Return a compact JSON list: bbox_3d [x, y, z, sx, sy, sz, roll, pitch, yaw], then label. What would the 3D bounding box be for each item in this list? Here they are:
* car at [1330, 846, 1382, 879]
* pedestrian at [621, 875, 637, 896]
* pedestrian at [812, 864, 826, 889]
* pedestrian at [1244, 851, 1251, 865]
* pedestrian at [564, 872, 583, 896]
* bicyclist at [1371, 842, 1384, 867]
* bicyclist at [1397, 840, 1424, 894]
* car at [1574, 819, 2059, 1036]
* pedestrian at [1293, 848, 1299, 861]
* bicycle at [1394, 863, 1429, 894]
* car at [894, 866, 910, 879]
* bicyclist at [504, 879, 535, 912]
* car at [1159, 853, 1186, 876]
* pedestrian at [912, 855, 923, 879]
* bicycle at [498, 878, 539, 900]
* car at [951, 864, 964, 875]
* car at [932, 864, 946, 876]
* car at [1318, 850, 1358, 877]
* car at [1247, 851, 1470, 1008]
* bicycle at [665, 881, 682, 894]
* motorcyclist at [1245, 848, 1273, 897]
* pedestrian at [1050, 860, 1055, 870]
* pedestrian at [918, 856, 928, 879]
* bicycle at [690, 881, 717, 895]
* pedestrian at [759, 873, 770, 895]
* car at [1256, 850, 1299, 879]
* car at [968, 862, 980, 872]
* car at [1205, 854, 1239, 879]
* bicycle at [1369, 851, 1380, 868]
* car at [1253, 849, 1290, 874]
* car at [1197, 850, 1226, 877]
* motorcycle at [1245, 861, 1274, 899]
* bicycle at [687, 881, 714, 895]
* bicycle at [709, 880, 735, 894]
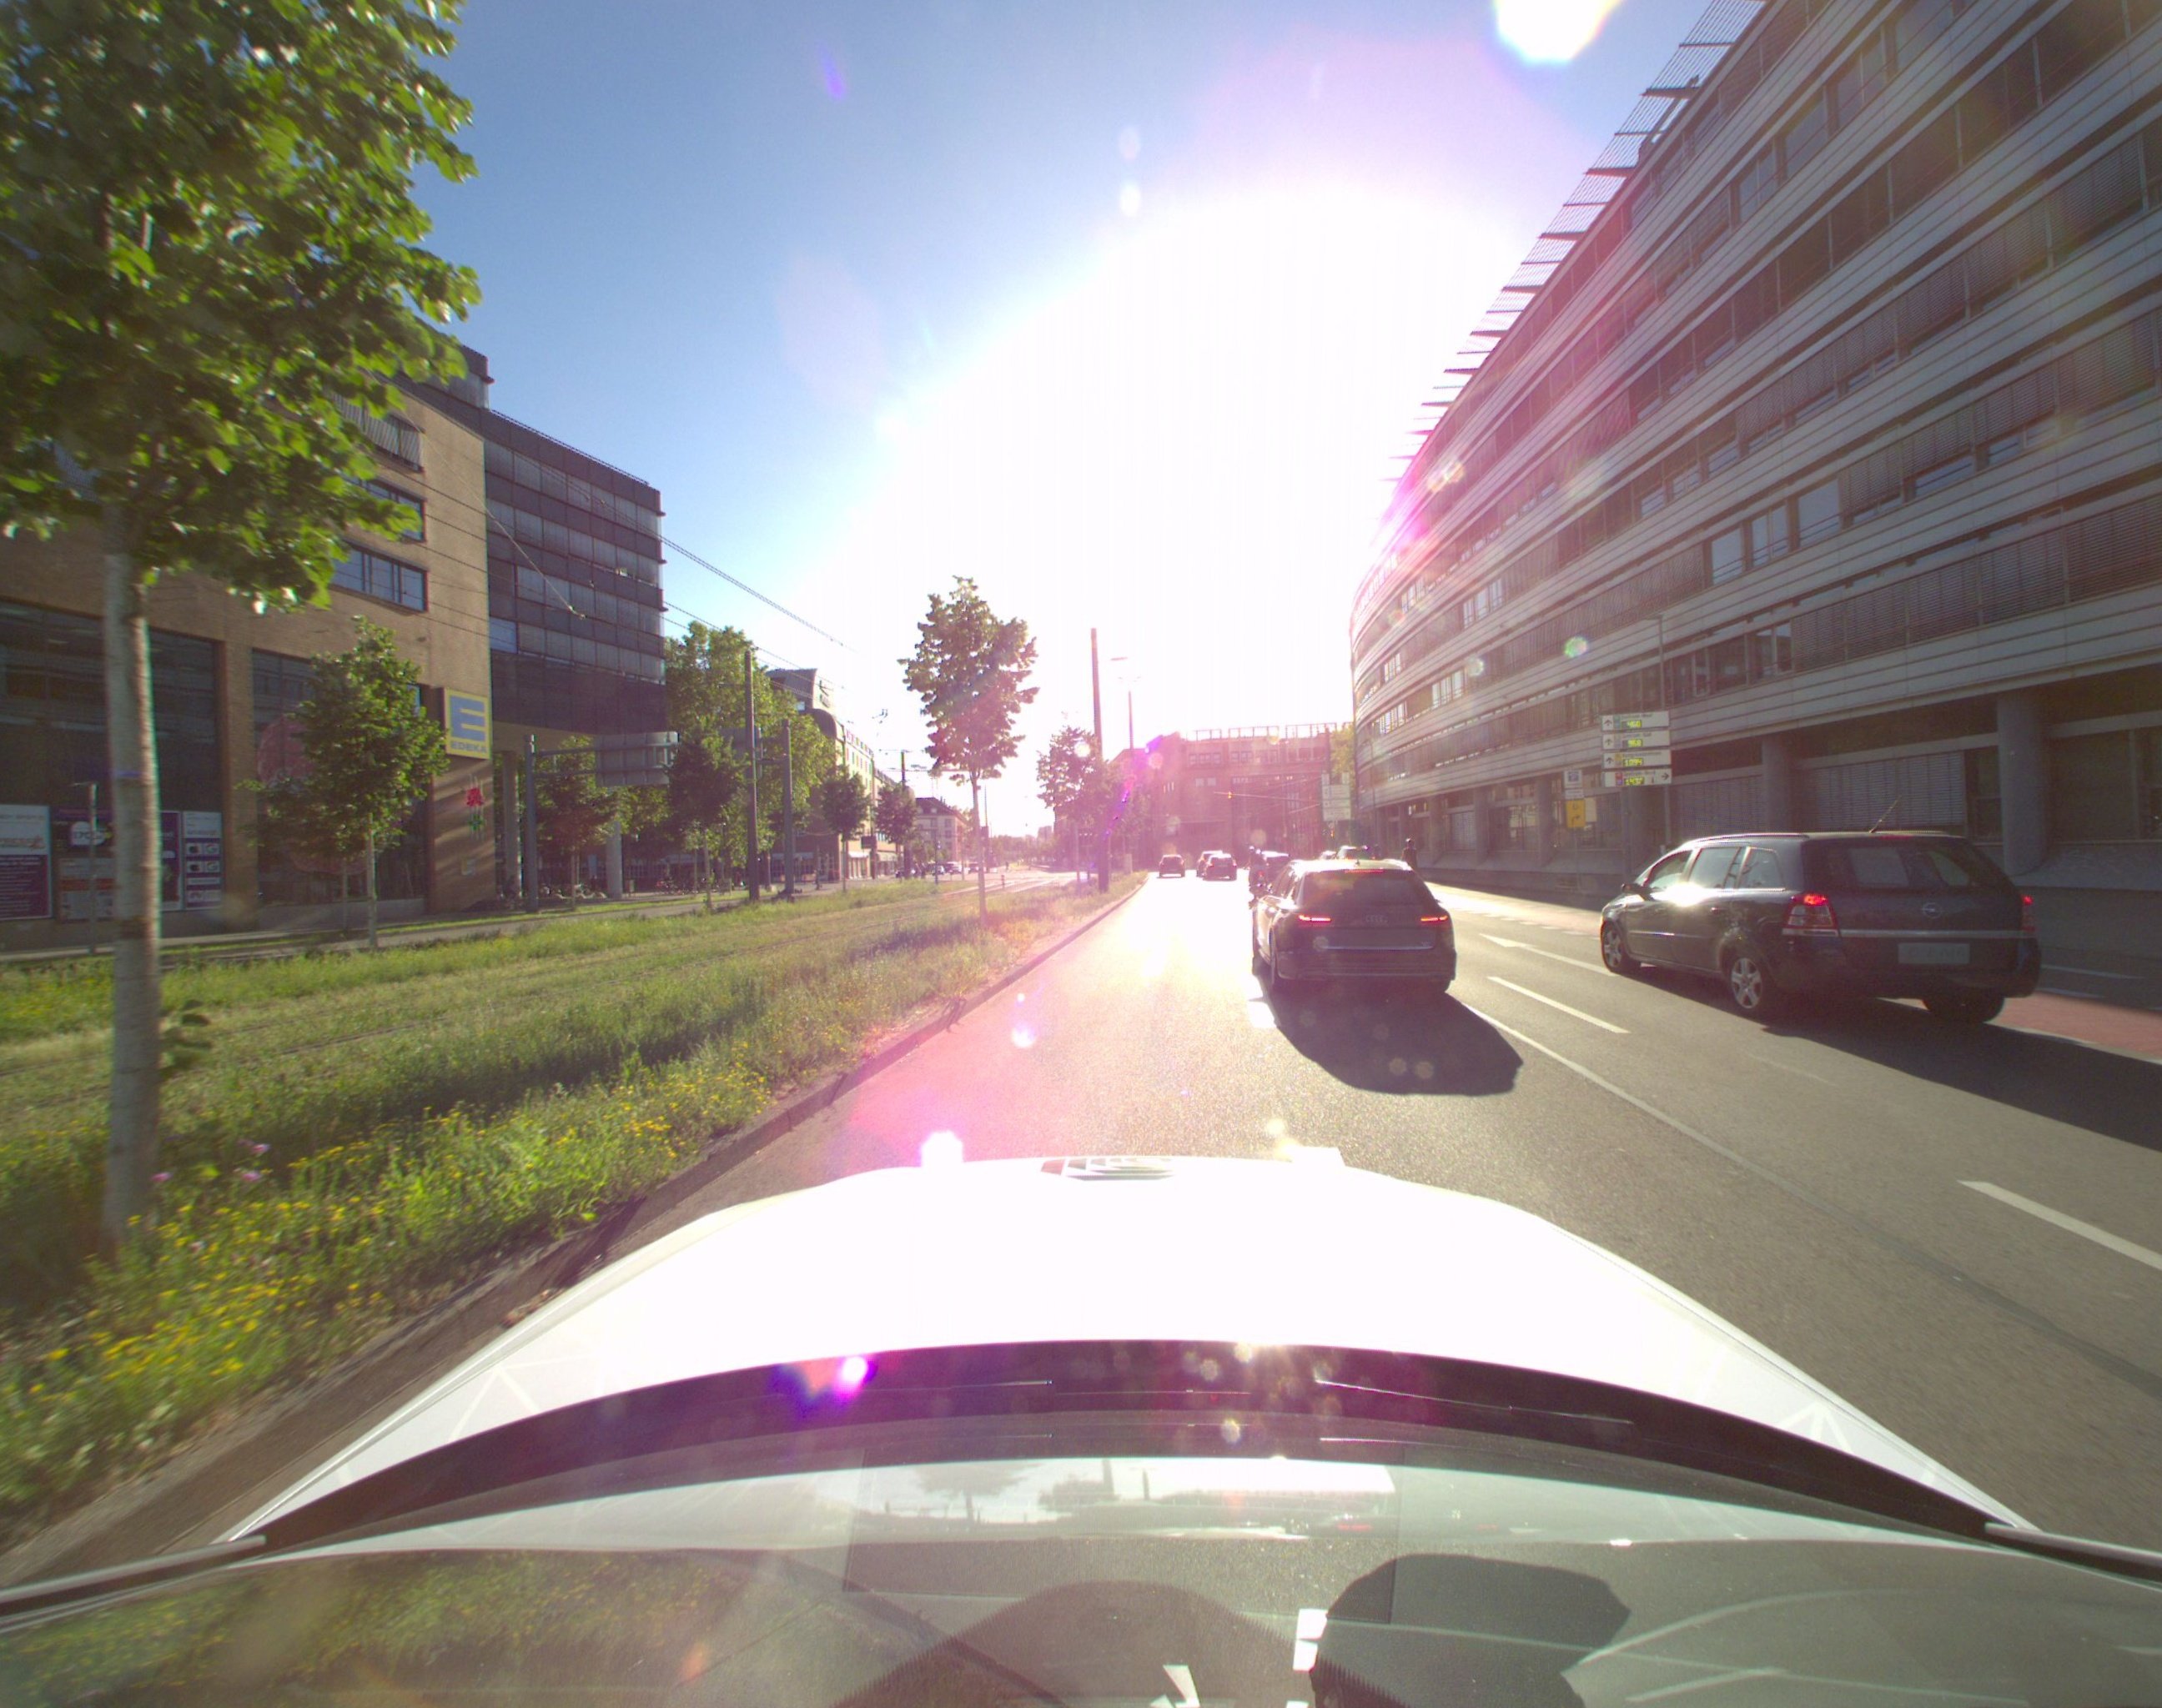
[{"bbox_3d":[16.146,0.489,48.028,1.984,1.750,4.336,-2,0,6],"label":"car"},{"bbox_3d":[-34.717,2.440,62.578,0.728,1.597,0.840,-1,-1,10],"label":"pedestrian"},{"bbox_3d":[-20.923,1.800,65.139,0.728,2.014,0.840,-1,-1,10],"label":"pedestrian"},{"bbox_3d":[21.513,0.471,105.329,0.699,1.759,0.564,-3,-1,31],"label":"pedestrian"},{"bbox_3d":[-37.266,2.199,59.779,0.728,1.645,0.840,-2,0,10],"label":"pedestrian"},{"bbox_3d":[19.433,0.050,53.461,0.679,1.618,0.995,-2,0,16],"label":"bicyclist"},{"bbox_3d":[11.278,0.435,27.900,0.574,1.791,0.865,-2,0,7],"label":"bicyclist"},{"bbox_3d":[6.950,0.575,8.475,1.677,1.629,4.477,-2,0,12],"label":"car"},{"bbox_3d":[25.261,0.077,95.824,0.527,1.430,0.599,-2,0,6],"label":"pedestrian"},{"bbox_3d":[11.313,0.818,27.941,0.489,0.997,2.333,-2,0,7],"label":"bicycle"},{"bbox_3d":[-28.054,2.877,127.446,1.992,2.013,3.990,-2,0,-7],"label":"car"},{"bbox_3d":[-26.087,1.926,37.858,0.675,1.465,1.017,-2,0,3],"label":"bicyclist"},{"bbox_3d":[6.110,0.688,54.123,1.640,1.433,4.008,-2,0,7],"label":"car"},{"bbox_3d":[-12.718,0.979,63.340,0.629,1.830,0.663,-2,0,0],"label":"pedestrian"},{"bbox_3d":[-26.097,1.598,37.812,0.496,0.910,1.890,-2,0,3],"label":"bicycle"},{"bbox_3d":[-19.659,2.455,129.693,1.746,1.505,3.865,-2,0,-11],"label":"car"},{"bbox_3d":[-22.589,2.537,129.794,1.992,1.596,4.726,-3,0,-7],"label":"car"},{"bbox_3d":[16.824,0.595,53.546,1.981,1.651,4.012,-2,0,10],"label":"car"},{"bbox_3d":[3.115,0.721,10.089,1.801,1.492,4.506,-1,0,8],"label":"car"},{"bbox_3d":[-30.773,2.514,61.539,1.749,0.951,0.545,-3,-1,42],"label":"bicycle"},{"bbox_3d":[5.707,0.587,26.160,0.740,1.530,1.023,-2,0,9],"label":"motorcyclist"},{"bbox_3d":[-4.753,1.844,134.778,0.741,1.640,0.766,-2,0,-7],"label":"pedestrian"},{"bbox_3d":[-12.490,1.077,64.280,0.561,1.817,0.663,-2,0,0],"label":"pedestrian"},{"bbox_3d":[-28.799,2.586,62.177,1.772,0.951,0.537,-2,-1,-21],"label":"bicycle"},{"bbox_3d":[-30.209,2.832,77.679,0.662,2.013,0.679,-2,0,7],"label":"pedestrian"},{"bbox_3d":[10.578,0.559,44.080,1.797,1.457,4.008,-1,0,7],"label":"car"},{"bbox_3d":[-16.895,2.057,128.519,1.746,1.505,3.865,-2,0,-11],"label":"car"},{"bbox_3d":[8.199,0.716,47.694,1.728,1.349,4.008,-2,0,7],"label":"car"},{"bbox_3d":[19.200,0.338,53.365,0.500,1.058,1.709,-5,-1,17],"label":"bicycle"},{"bbox_3d":[11.829,0.443,50.678,1.797,1.457,4.008,-1,0,7],"label":"car"},{"bbox_3d":[8.711,0.611,54.755,1.728,1.651,4.008,-2,0,7],"label":"car"},{"bbox_3d":[5.744,0.821,26.287,0.771,1.115,1.974,-2,0,9],"label":"motorcycle"},{"bbox_3d":[-28.589,2.534,61.218,1.765,0.951,0.539,-2,-1,-10],"label":"bicycle"},{"bbox_3d":[-28.244,2.588,64.083,1.760,0.951,0.541,-2,-1,-1],"label":"bicycle"}]
